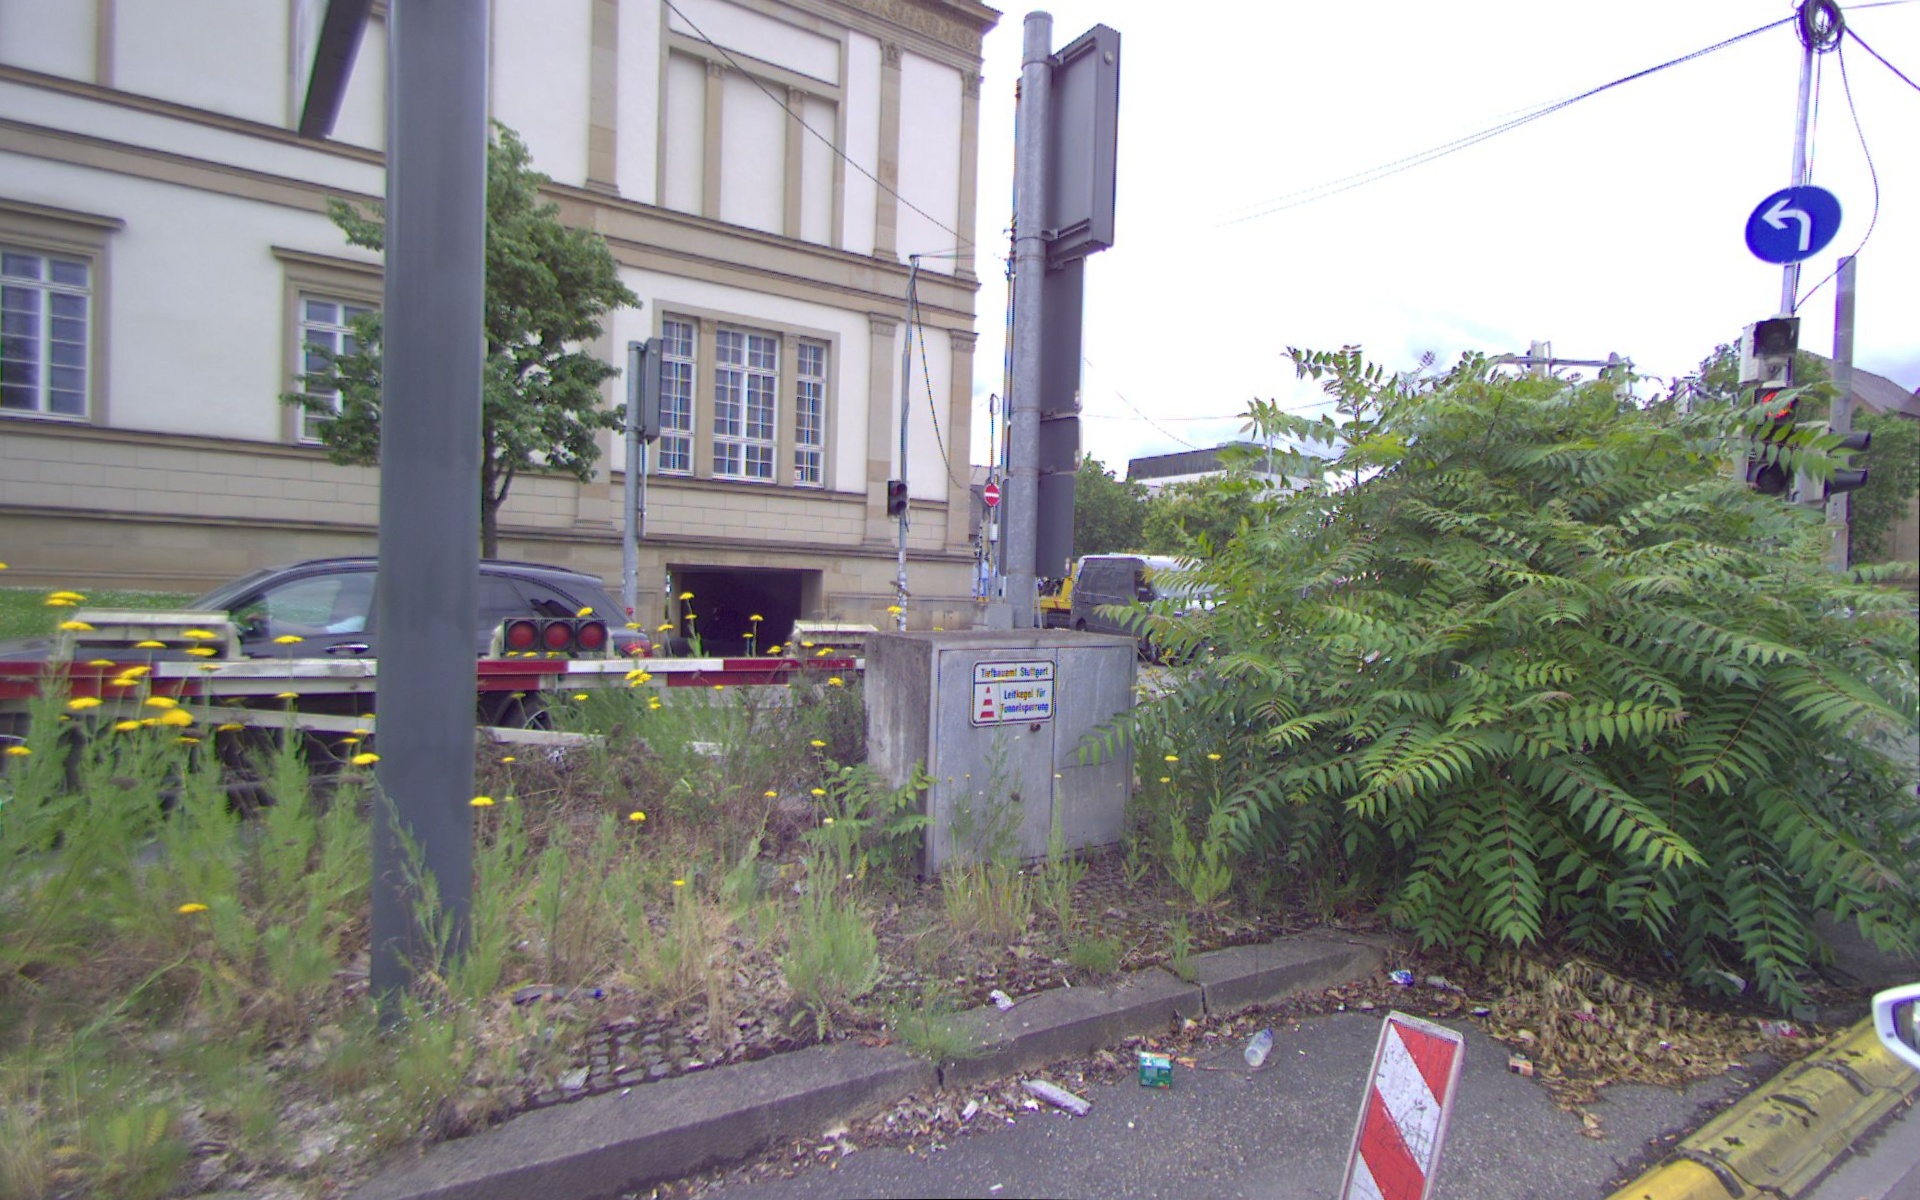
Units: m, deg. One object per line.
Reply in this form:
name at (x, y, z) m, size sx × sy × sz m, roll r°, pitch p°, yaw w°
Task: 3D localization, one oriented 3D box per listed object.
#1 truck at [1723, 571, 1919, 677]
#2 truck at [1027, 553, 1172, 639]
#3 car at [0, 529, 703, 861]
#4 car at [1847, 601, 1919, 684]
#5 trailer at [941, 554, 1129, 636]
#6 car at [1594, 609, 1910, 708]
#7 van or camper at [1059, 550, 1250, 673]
truck at (44.481, 1.134, 50.506) m, size 9.594 × 5.026 × 3.101 m, roll 2°, pitch 0°, yaw 38°
truck at (4.778, -0.114, 34.863) m, size 2.837 × 2.761 × 4.172 m, roll 2°, pitch 0°, yaw -38°
car at (-4.169, 0.501, 6.782) m, size 4.338 × 1.647 × 1.863 m, roll 2°, pitch 0°, yaw -42°
car at (23.154, 1.018, 22.903) m, size 1.986 × 1.858 × 4.203 m, roll 2°, pitch 0°, yaw -42°
trailer at (2.627, -0.202, 37.634) m, size 2.837 × 2.761 × 7.291 m, roll 2°, pitch 0°, yaw -38°
car at (14.730, 1.009, 18.943) m, size 1.978 × 1.560 × 4.272 m, roll 2°, pitch 0°, yaw -31°
van or camper at (4.563, 0.233, 24.819) m, size 2.124 × 2.645 × 6.063 m, roll 1°, pitch 0°, yaw -16°
